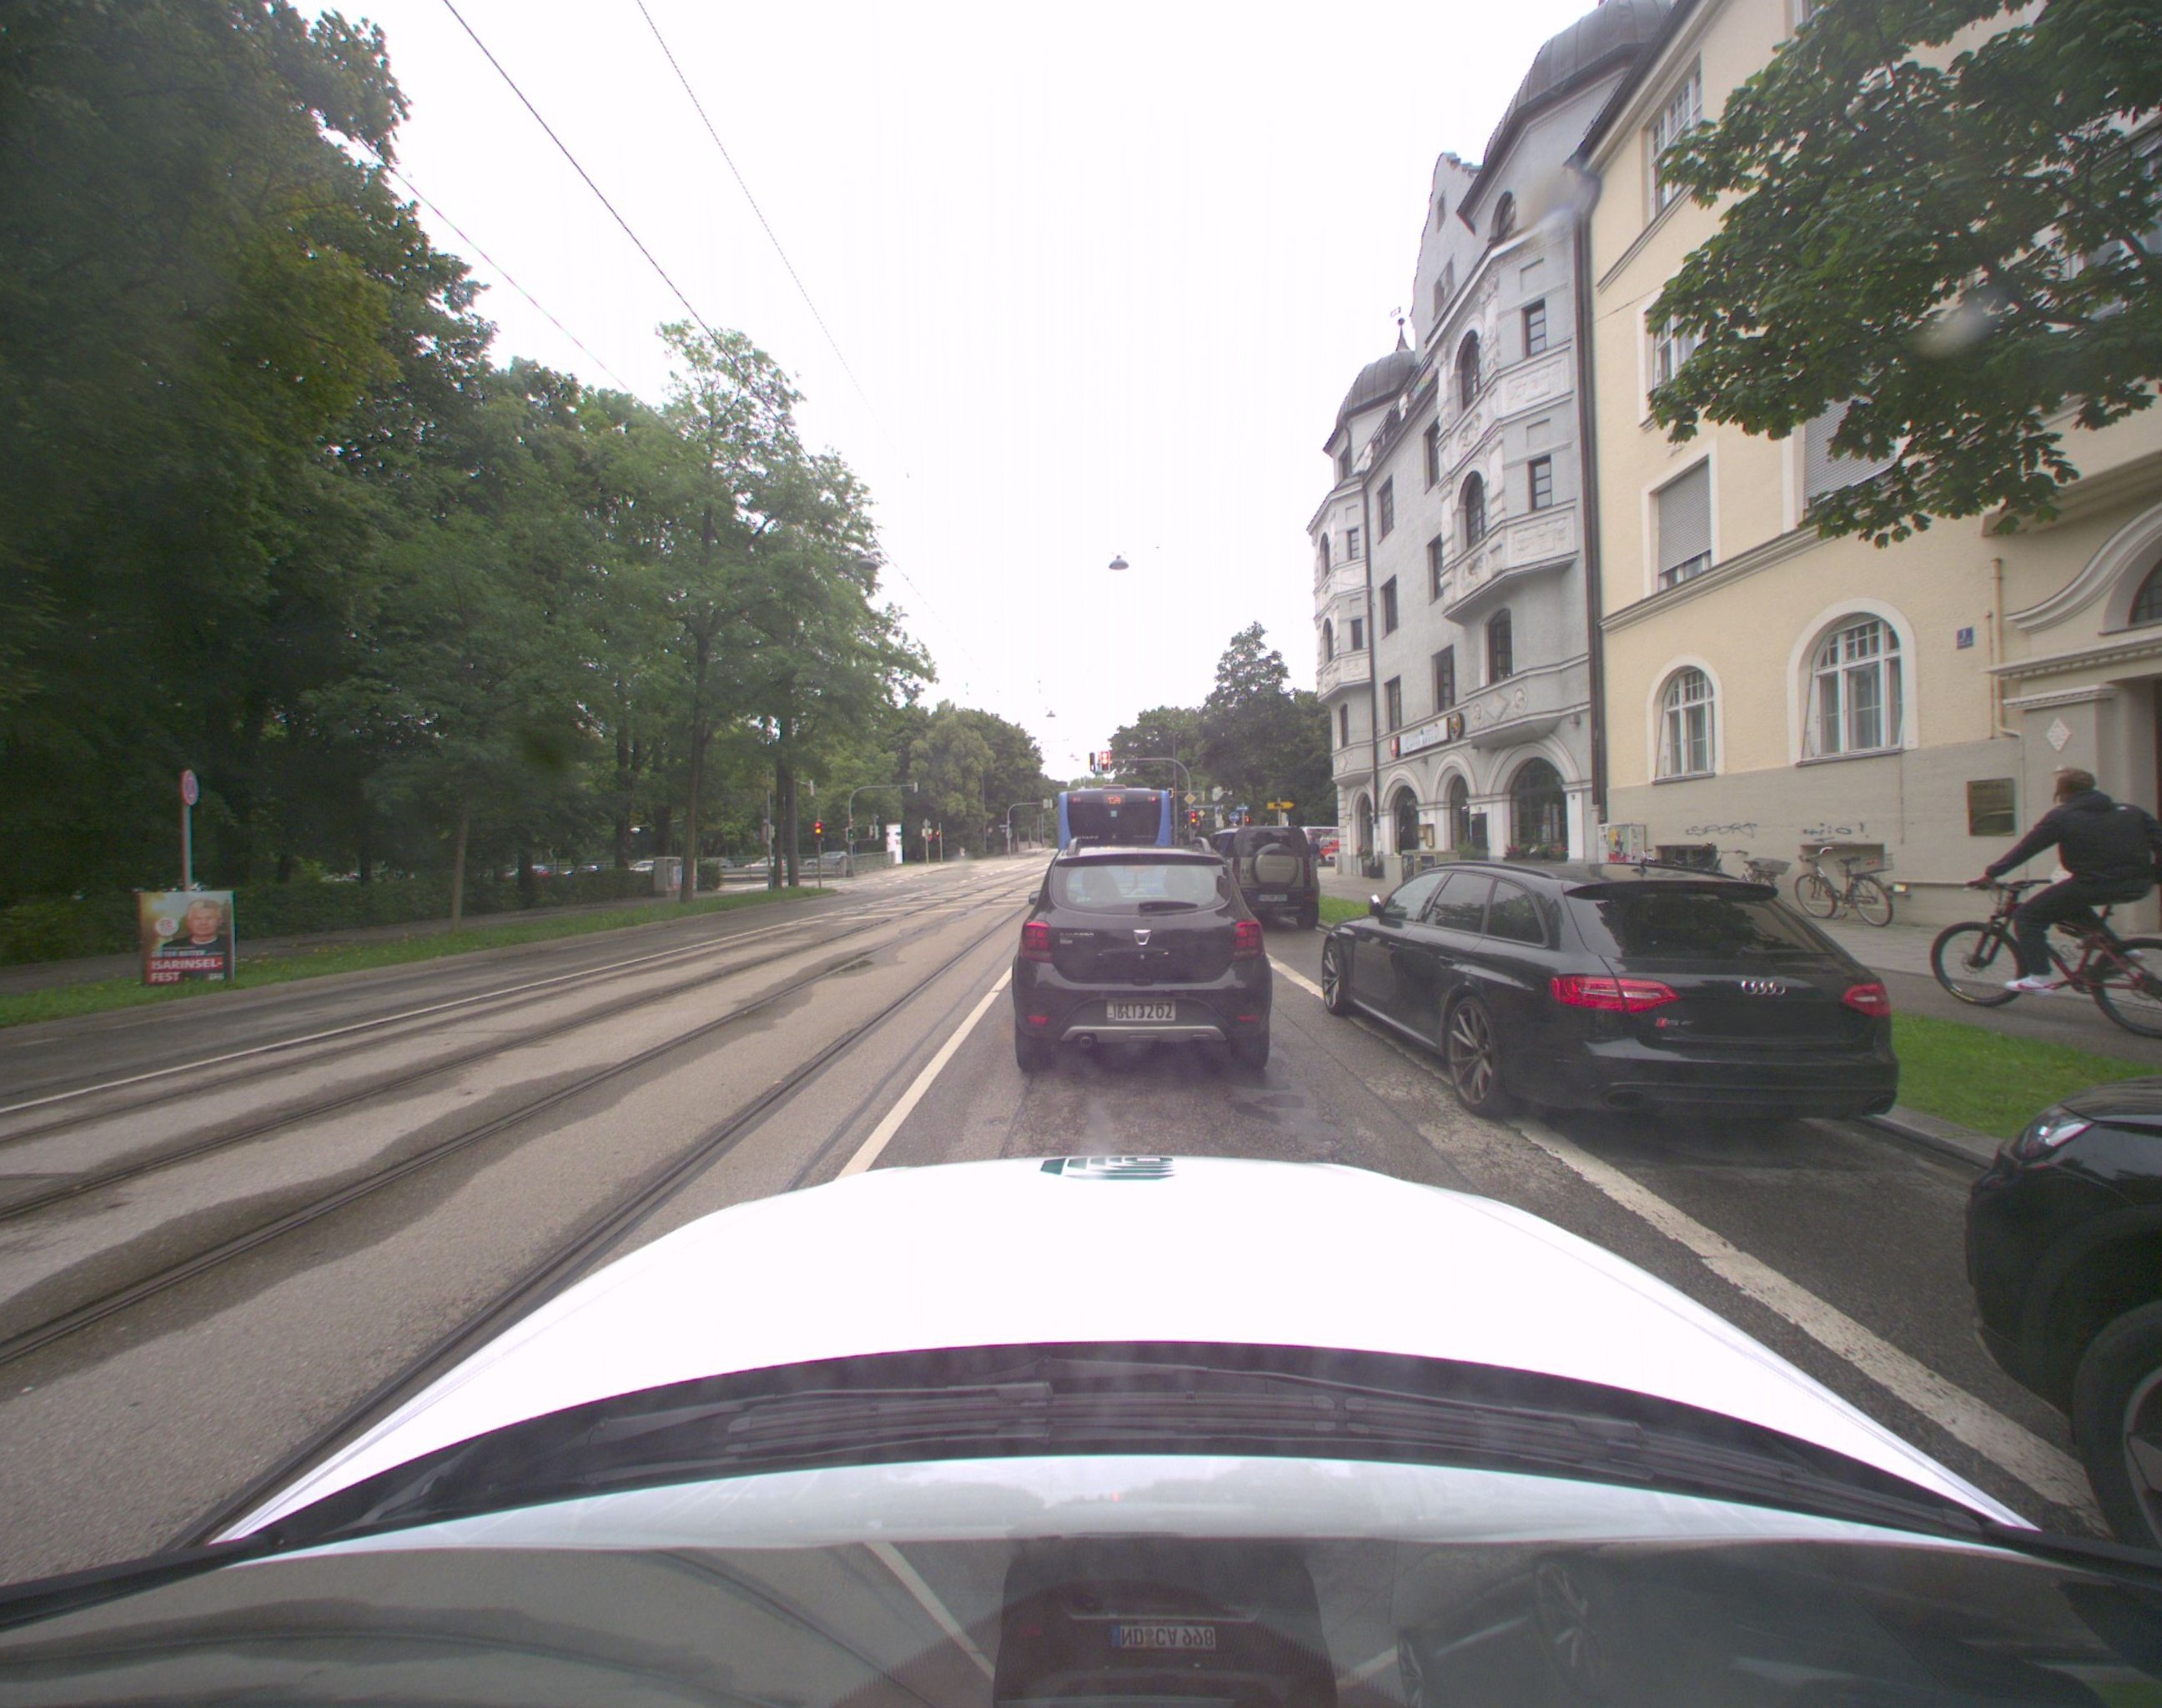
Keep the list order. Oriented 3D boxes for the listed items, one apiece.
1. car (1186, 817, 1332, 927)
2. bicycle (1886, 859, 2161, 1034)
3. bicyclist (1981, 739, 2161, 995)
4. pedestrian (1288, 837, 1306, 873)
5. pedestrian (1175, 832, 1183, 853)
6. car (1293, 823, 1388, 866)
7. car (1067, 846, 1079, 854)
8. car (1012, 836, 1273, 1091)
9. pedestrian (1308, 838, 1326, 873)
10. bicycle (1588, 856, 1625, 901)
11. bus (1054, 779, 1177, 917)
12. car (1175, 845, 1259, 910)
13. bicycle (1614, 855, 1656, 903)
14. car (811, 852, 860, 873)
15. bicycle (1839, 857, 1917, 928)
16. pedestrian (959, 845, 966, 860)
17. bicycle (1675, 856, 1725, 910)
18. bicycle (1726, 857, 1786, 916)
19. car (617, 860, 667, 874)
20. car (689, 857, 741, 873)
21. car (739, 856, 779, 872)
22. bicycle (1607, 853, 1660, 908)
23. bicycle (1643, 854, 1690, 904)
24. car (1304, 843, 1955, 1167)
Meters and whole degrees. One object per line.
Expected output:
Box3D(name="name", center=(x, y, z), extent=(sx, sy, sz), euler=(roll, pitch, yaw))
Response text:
Box3D(name="car", center=(3.390, 0.303, 16.512), extent=(1.908, 1.905, 4.807), euler=(0, 0, 0))
Box3D(name="bicycle", center=(7.247, 0.602, 6.060), extent=(0.577, 1.078, 1.912), euler=(-4, 0, 1))
Box3D(name="bicyclist", center=(7.244, 0.087, 5.867), extent=(0.722, 1.729, 0.726), euler=(0, 0, 1))
Box3D(name="pedestrian", center=(10.914, 0.046, 41.113), extent=(0.702, 1.816, 0.870), euler=(0, 0, 2))
Box3D(name="pedestrian", center=(10.140, -1.196, 84.310), extent=(0.760, 2.116, 0.854), euler=(-2, 0, 2))
Box3D(name="car", center=(16.268, -0.585, 51.154), extent=(5.281, 2.612, 2.229), euler=(0, 0, -2))
Box3D(name="car", center=(-1.243, -0.620, 131.339), extent=(1.782, 1.370, 3.400), euler=(0, 0, 0))
Box3D(name="car", center=(0.414, 0.668, 6.742), extent=(1.595, 1.556, 3.526), euler=(0, 0, 1))
Box3D(name="pedestrian", center=(11.763, 0.064, 40.635), extent=(0.702, 1.732, 0.843), euler=(0, 0, 2))
Box3D(name="bicycle", center=(11.285, 0.513, 17.490), extent=(0.258, 0.930, 0.886), euler=(0, 0, 3))
Box3D(name="bus", center=(0.757, -0.135, 21.179), extent=(2.670, 2.997, 6.960), euler=(0, 0, 0))
Box3D(name="car", center=(3.574, 0.578, 22.103), extent=(1.708, 1.591, 4.329), euler=(0, 0, 2))
Box3D(name="bicycle", center=(11.256, 0.494, 16.552), extent=(0.289, 0.930, 0.886), euler=(0, 0, 3))
Box3D(name="car", center=(-22.324, 0.763, 74.017), extent=(4.015, 1.887, 1.488), euler=(0, 0, -5))
Box3D(name="bicycle", center=(10.989, 0.510, 11.250), extent=(0.220, 0.930, 0.886), euler=(0, 0, 1))
Box3D(name="pedestrian", center=(-11.988, -0.154, 82.471), extent=(0.529, 1.501, 0.589), euler=(0, 0, 6))
Box3D(name="bicycle", center=(11.102, 0.504, 14.624), extent=(0.271, 0.930, 0.886), euler=(0, 0, 3))
Box3D(name="bicycle", center=(11.001, 0.513, 13.289), extent=(0.284, 0.930, 0.886), euler=(0, 0, 3))
Box3D(name="car", center=(-39.394, 1.162, 73.137), extent=(3.719, 1.185, 1.249), euler=(0, 0, -3))
Box3D(name="car", center=(-32.977, 1.020, 73.394), extent=(3.915, 1.404, 1.719), euler=(0, 0, -3))
Box3D(name="car", center=(-29.026, 0.890, 73.394), extent=(3.103, 1.452, 1.249), euler=(0, 0, -4))
Box3D(name="bicycle", center=(10.814, 0.492, 15.972), extent=(0.241, 1.039, 1.224), euler=(0, 0, 2))
Box3D(name="bicycle", center=(11.193, 0.464, 15.593), extent=(0.304, 0.930, 0.886), euler=(0, 0, 4))
Box3D(name="car", center=(3.052, 0.664, 5.898), extent=(1.709, 1.426, 4.603), euler=(0, 0, 1))
